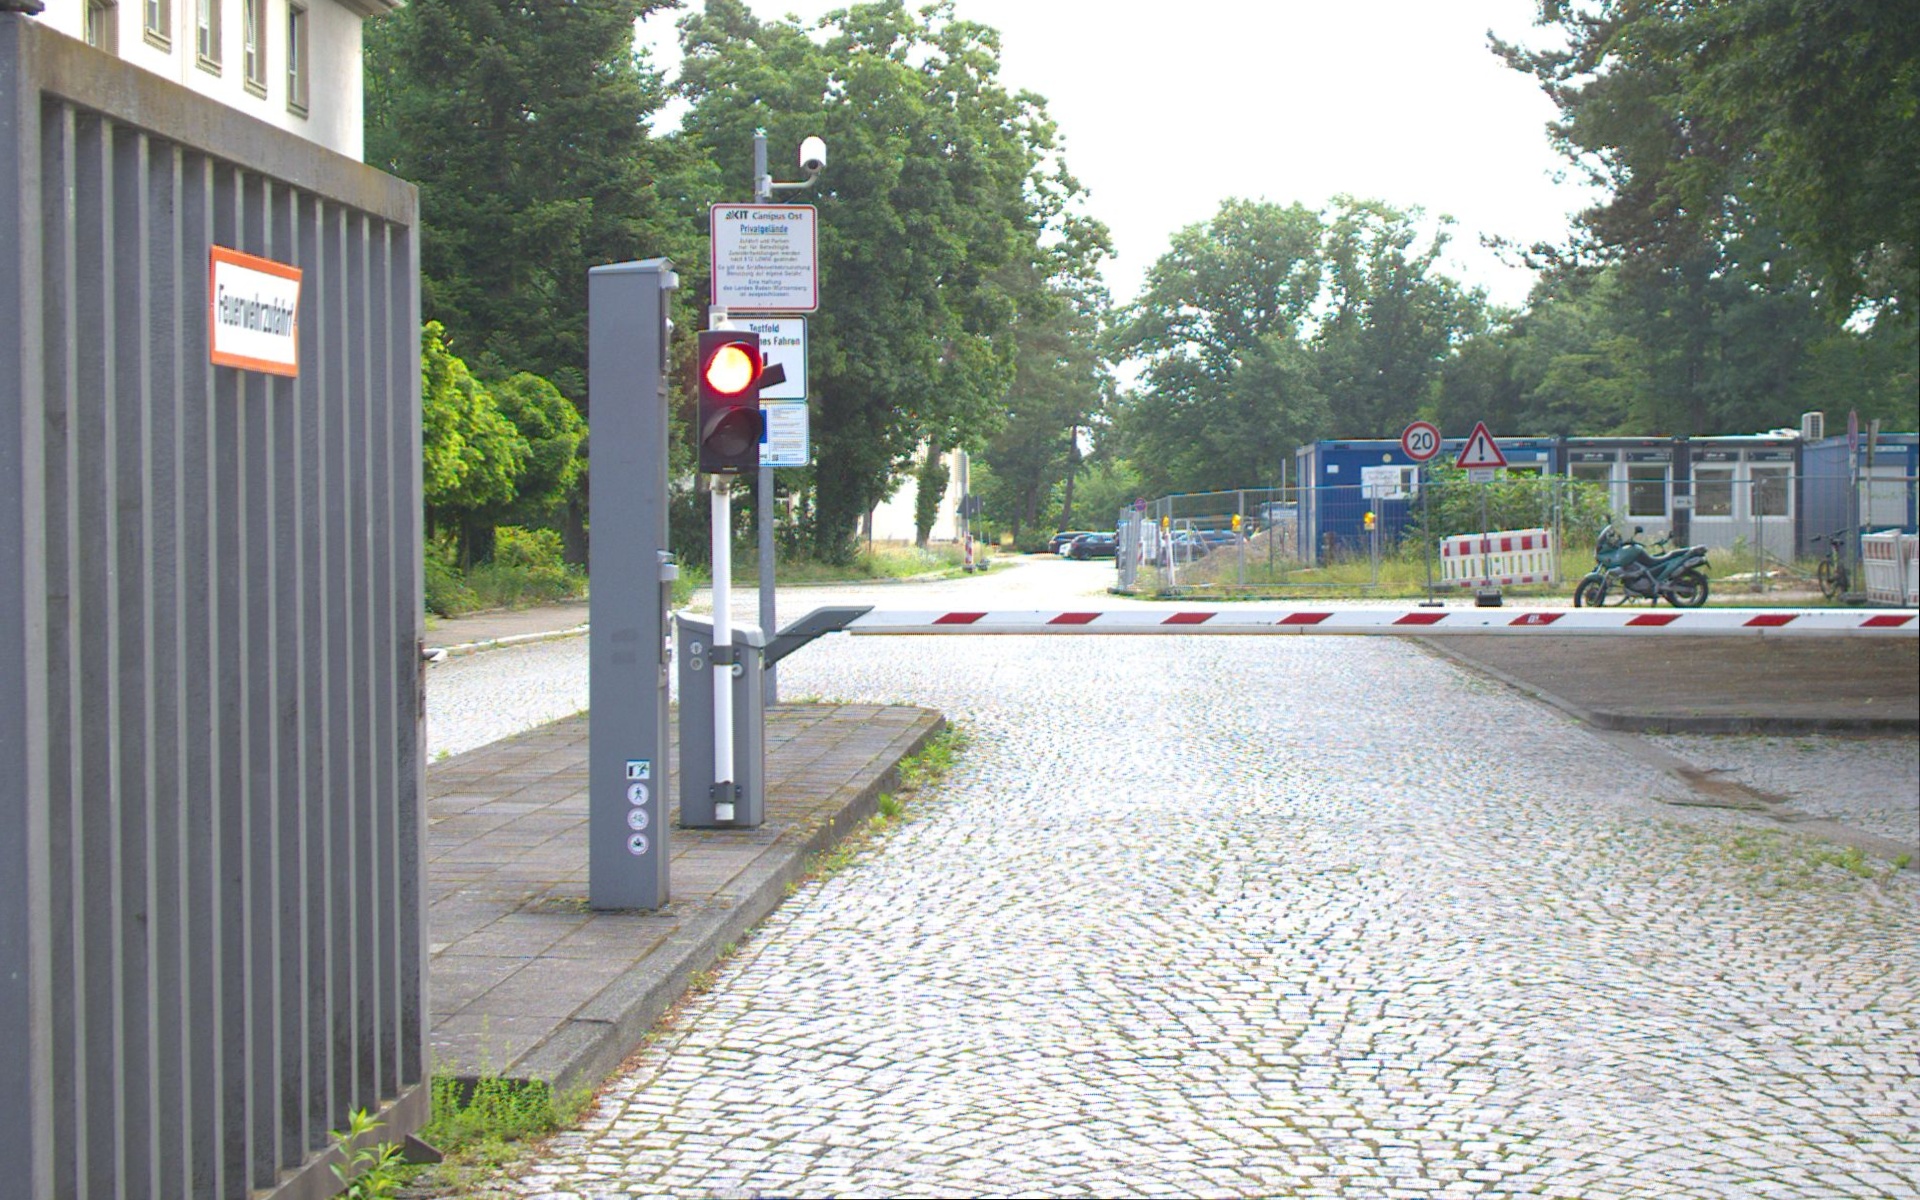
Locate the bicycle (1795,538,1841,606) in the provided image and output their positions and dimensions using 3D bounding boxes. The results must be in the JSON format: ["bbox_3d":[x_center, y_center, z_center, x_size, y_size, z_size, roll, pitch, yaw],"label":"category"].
[{"bbox_3d":[13.230,-0.420,53.024,0.332,1.004,1.726,-1,-1,2],"label":"bicycle"}]

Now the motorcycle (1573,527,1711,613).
[{"bbox_3d":[10.240,-0.452,51.629,1.956,1.191,0.461,-2,6,2],"label":"motorcycle"}]
